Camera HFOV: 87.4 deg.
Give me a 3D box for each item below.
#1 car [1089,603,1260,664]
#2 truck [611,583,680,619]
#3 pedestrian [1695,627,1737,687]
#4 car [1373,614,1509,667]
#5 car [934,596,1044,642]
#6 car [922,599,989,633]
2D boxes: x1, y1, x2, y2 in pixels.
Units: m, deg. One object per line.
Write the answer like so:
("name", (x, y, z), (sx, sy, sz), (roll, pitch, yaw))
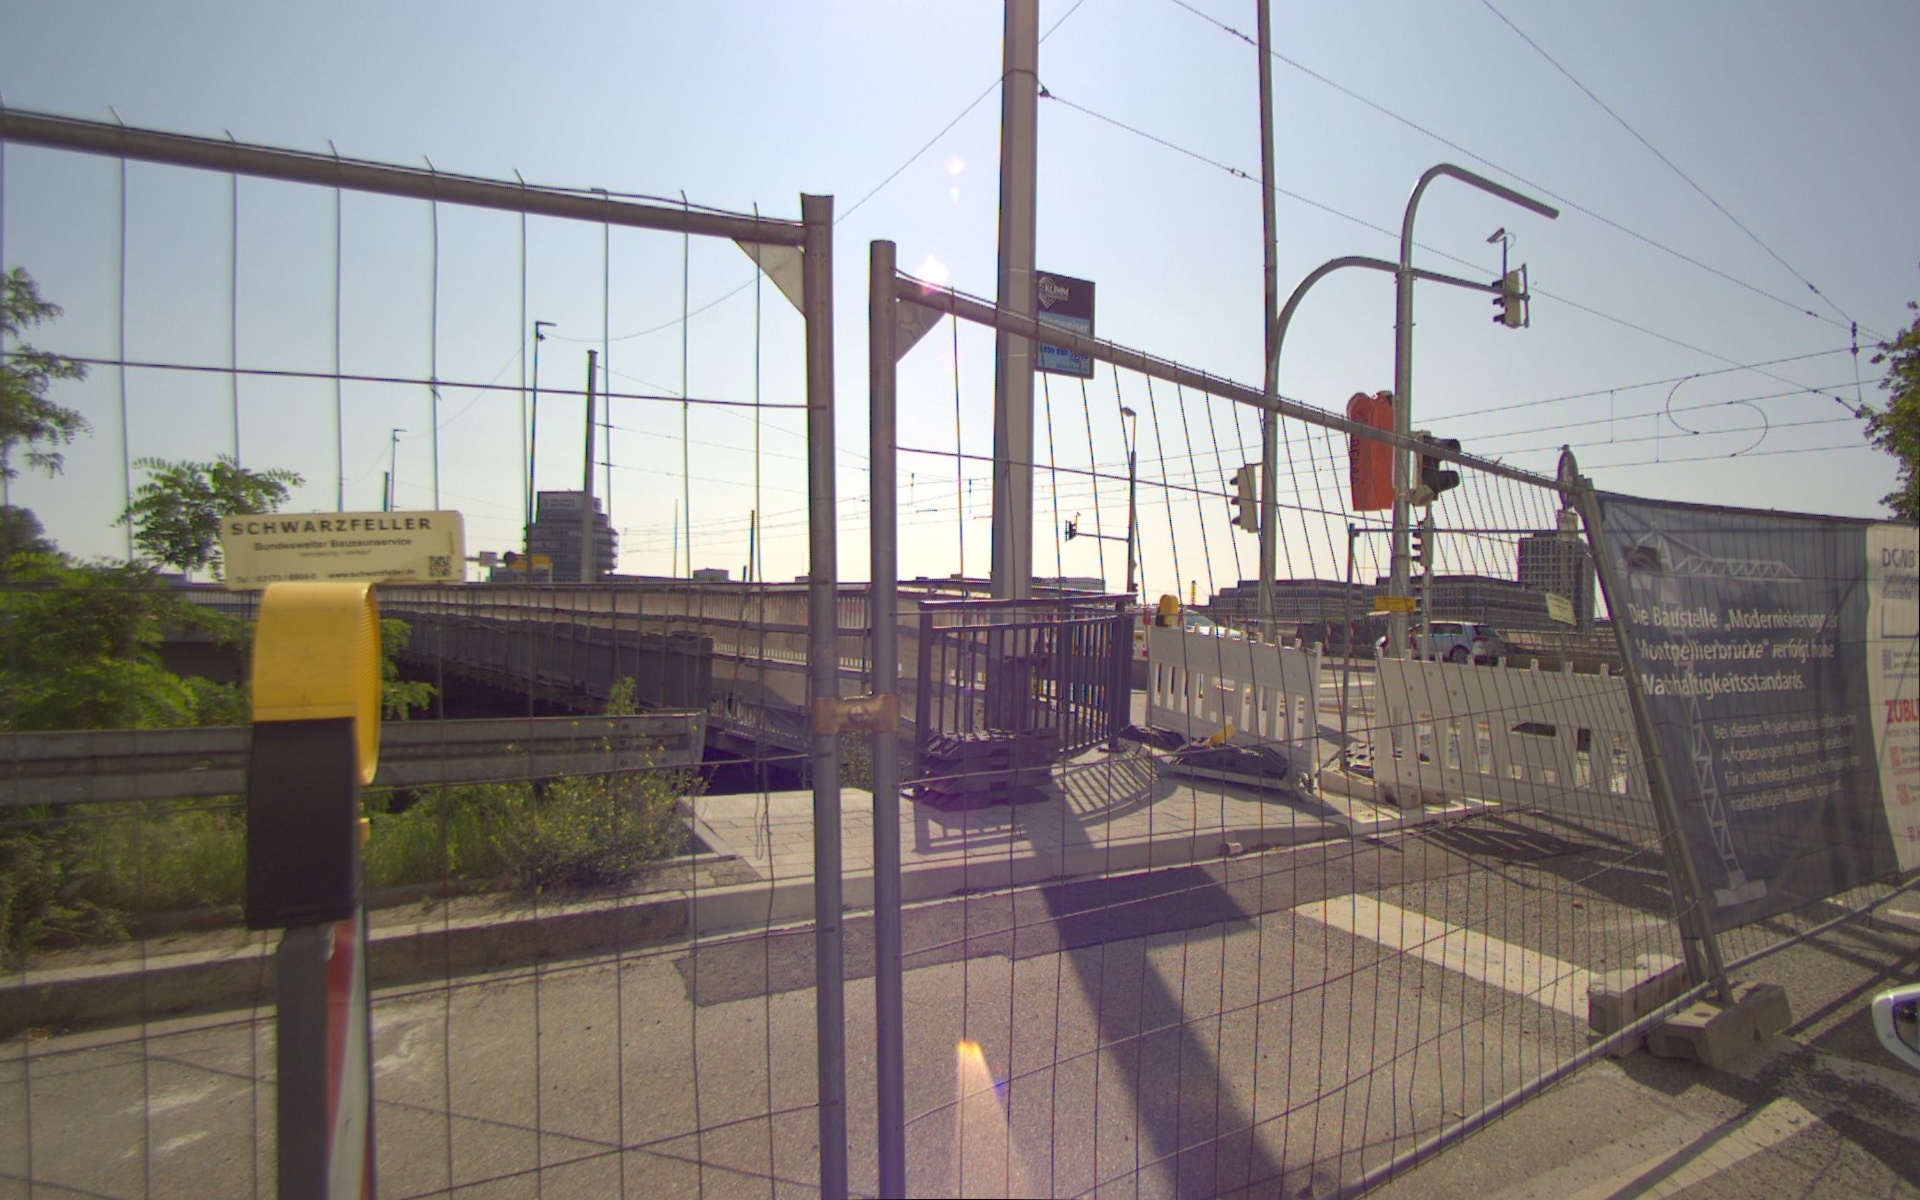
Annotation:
("car", (5.804, 0.875, 27.669), (1.629, 1.456, 4.591), (1, 0, -39))
("truck", (-29.680, 0.029, 94.534), (2.446, 3.176, 11.094), (3, -1, -37))
("pedestrian", (24.016, 1.798, 31.923), (0.847, 1.819, 0.821), (1, 0, 23))
("car", (15.891, 1.321, 33.303), (1.708, 1.552, 3.657), (4, -2, -38))
("car", (0.922, 0.612, 33.759), (1.525, 1.456, 3.937), (1, 0, -38))
("car", (-0.366, 1.033, 65.905), (1.867, 2.060, 4.840), (4, -3, -36))
